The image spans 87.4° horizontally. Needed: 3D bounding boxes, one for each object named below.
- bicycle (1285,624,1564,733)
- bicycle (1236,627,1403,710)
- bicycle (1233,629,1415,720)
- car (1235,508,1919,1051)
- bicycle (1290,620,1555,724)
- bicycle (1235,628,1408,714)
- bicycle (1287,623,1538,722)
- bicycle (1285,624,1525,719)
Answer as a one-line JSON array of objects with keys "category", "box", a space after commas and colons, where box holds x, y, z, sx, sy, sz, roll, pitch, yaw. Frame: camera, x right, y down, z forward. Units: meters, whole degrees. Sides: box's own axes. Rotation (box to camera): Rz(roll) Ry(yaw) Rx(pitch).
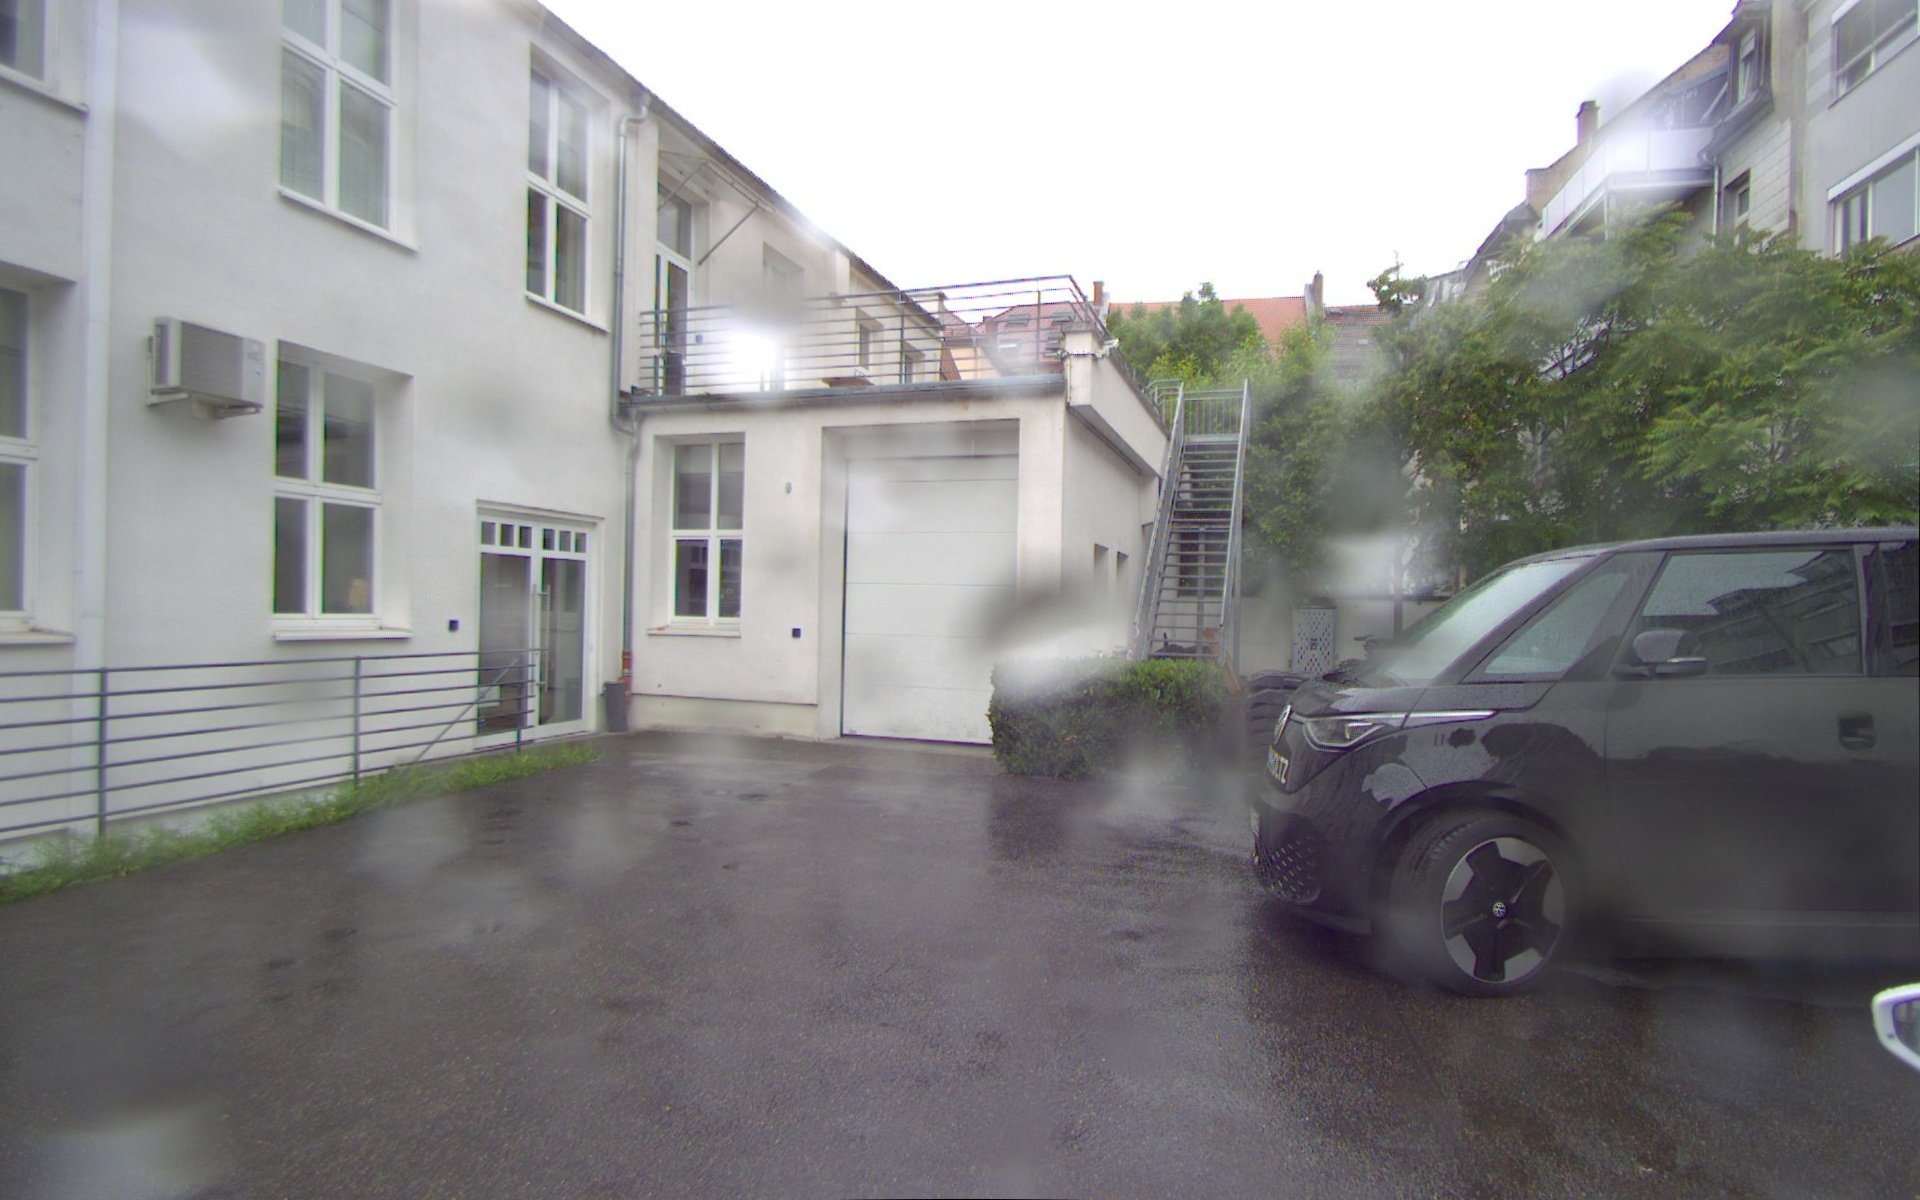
[{"category": "bicycle", "box": [5.841, 0.966, 12.842, 3.159, 1.258, 0.631, 1, -1, 16]}, {"category": "bicycle", "box": [5.357, 1.000, 15.092, 2.289, 1.119, 0.633, 1, 0, 18]}, {"category": "bicycle", "box": [4.974, 0.996, 13.844, 2.289, 1.119, 0.633, 1, 0, 18]}, {"category": "car", "box": [3.637, 0.662, 4.562, 4.430, 1.922, 2.048, 1, -1, 11]}, {"category": "bicycle", "box": [6.134, 0.933, 13.527, 3.159, 1.258, 0.631, 1, -1, 16]}, {"category": "bicycle", "box": [5.167, 0.998, 14.475, 2.289, 1.119, 0.633, 1, 0, 18]}, {"category": "bicycle", "box": [6.296, 0.993, 14.188, 3.159, 1.258, 0.631, 1, -1, 16]}, {"category": "bicycle", "box": [6.483, 1.021, 14.817, 3.159, 1.258, 0.631, 1, -1, 16]}]
